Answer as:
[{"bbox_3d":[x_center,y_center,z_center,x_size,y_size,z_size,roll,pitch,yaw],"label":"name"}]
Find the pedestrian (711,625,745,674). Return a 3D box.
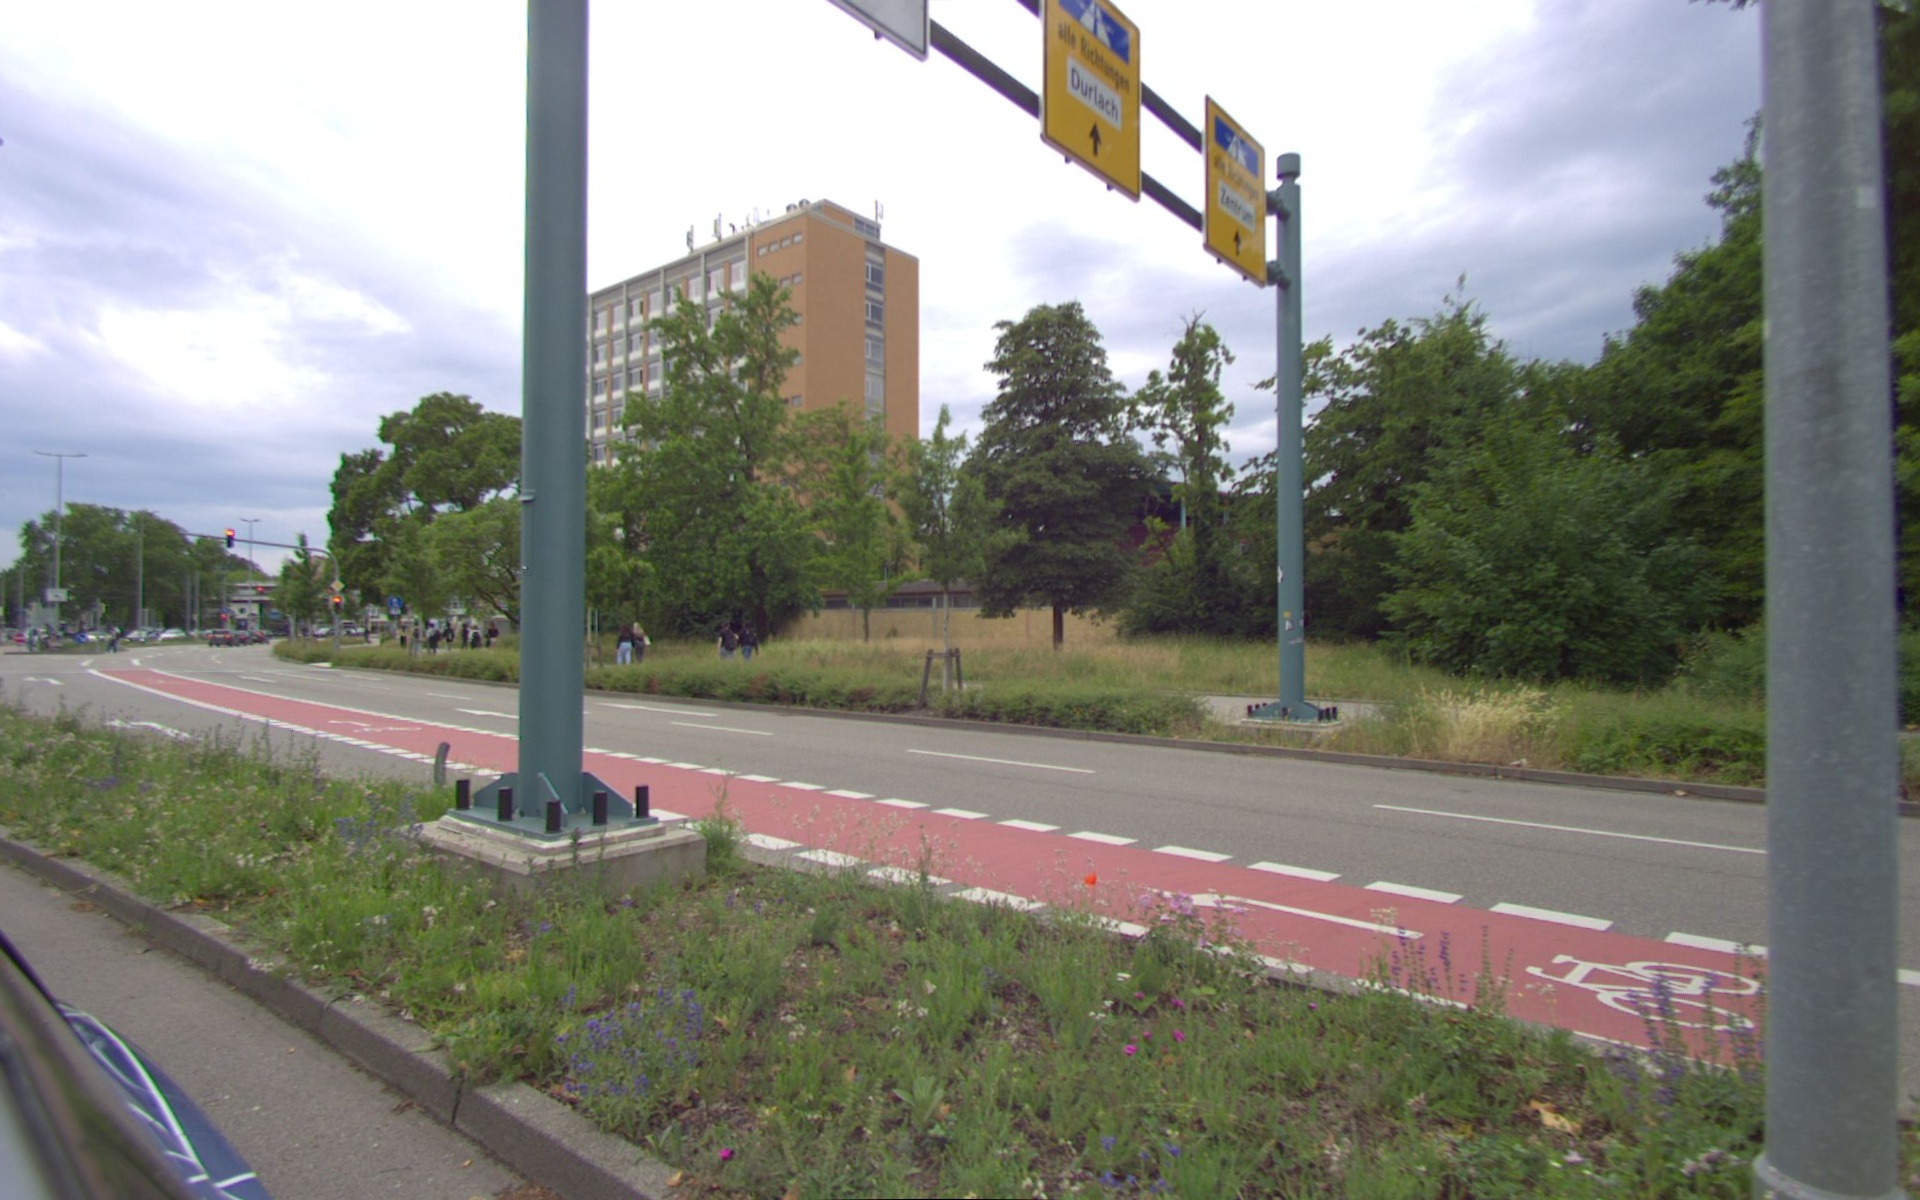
[{"bbox_3d":[-6.651,1.426,28.955,0.711,1.368,0.638,-2,-4,42],"label":"pedestrian"}]

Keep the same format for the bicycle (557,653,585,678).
[{"bbox_3d":[-14.409,2.424,37.433,0.651,0.895,1.720,2,-4,-31],"label":"bicycle"}]

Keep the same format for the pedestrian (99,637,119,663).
[{"bbox_3d":[-55.172,3.235,65.626,0.705,1.680,0.768,-2,-4,35],"label":"pedestrian"}]

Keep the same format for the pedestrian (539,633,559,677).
[{"bbox_3d":[-15.009,2.008,36.944,0.567,1.621,0.618,2,-4,-31],"label":"pedestrian"}]

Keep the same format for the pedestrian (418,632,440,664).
[{"bbox_3d":[-25.115,2.262,47.855,0.720,1.491,0.814,3,-4,-43],"label":"pedestrian"}]

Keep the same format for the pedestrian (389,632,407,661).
[{"bbox_3d":[-33.587,2.782,60.488,0.698,1.683,0.890,0,-2,-43],"label":"pedestrian"}]

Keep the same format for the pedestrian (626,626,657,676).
[{"bbox_3d":[-10.994,1.757,34.923,0.766,1.685,0.700,-2,-4,38],"label":"pedestrian"}]

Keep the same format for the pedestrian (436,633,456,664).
[{"bbox_3d":[-24.610,2.315,48.463,0.628,1.491,0.762,3,-4,-43],"label":"pedestrian"}]

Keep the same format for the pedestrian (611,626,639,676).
[{"bbox_3d":[-11.390,1.736,34.386,0.719,1.673,0.580,-2,-4,38],"label":"pedestrian"}]

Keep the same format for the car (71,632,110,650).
[{"bbox_3d":[-86.619,4.108,100.878,1.807,1.777,3.924,2,-3,-24],"label":"car"}]

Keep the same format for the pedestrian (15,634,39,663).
[{"bbox_3d":[-57.736,2.999,62.652,0.904,1.818,0.542,2,-4,-30],"label":"pedestrian"}]

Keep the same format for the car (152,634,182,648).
[{"bbox_3d":[-95.738,4.918,122.170,1.774,1.608,3.771,2,-3,-22],"label":"car"}]

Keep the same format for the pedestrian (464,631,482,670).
[{"bbox_3d":[-21.141,2.193,43.902,0.613,1.708,0.749,2,-3,-22],"label":"pedestrian"}]

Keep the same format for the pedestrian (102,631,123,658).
[{"bbox_3d":[-56.602,2.980,67.596,0.735,1.818,0.762,-1,-3,21],"label":"pedestrian"}]

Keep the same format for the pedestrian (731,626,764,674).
[{"bbox_3d":[-6.211,1.453,29.537,0.680,1.373,0.638,-2,-4,41],"label":"pedestrian"}]

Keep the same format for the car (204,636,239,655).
[{"bbox_3d":[-69.251,4.268,94.974,1.785,1.680,3.962,2,-2,-24],"label":"car"}]

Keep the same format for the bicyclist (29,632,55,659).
[{"bbox_3d":[-59.459,2.941,65.540,1.175,1.749,0.807,3,-4,-45],"label":"bicyclist"}]

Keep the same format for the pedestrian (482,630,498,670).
[{"bbox_3d":[-20.670,2.200,44.538,0.570,1.725,0.764,2,-3,-23],"label":"pedestrian"}]

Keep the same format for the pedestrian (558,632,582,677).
[{"bbox_3d":[-14.453,2.037,37.531,0.651,1.644,0.765,2,-4,-31],"label":"pedestrian"}]

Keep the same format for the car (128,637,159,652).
[{"bbox_3d":[-91.928,5.019,113.993,1.582,1.608,3.771,2,-3,-22],"label":"car"}]

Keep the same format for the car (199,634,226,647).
[{"bbox_3d":[-98.230,5.368,133.030,1.583,1.608,3.769,1,-3,-15],"label":"car"}]

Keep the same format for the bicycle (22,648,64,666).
[{"bbox_3d":[-59.403,3.690,65.576,1.977,1.151,0.807,3,-4,-45],"label":"bicycle"}]

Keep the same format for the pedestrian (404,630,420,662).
[{"bbox_3d":[-31.019,2.596,57.283,0.629,1.815,0.762,1,-3,-43],"label":"pedestrian"}]

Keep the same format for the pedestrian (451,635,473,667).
[{"bbox_3d":[-25.677,2.627,52.167,0.824,1.625,0.630,-2,-1,22],"label":"pedestrian"}]
